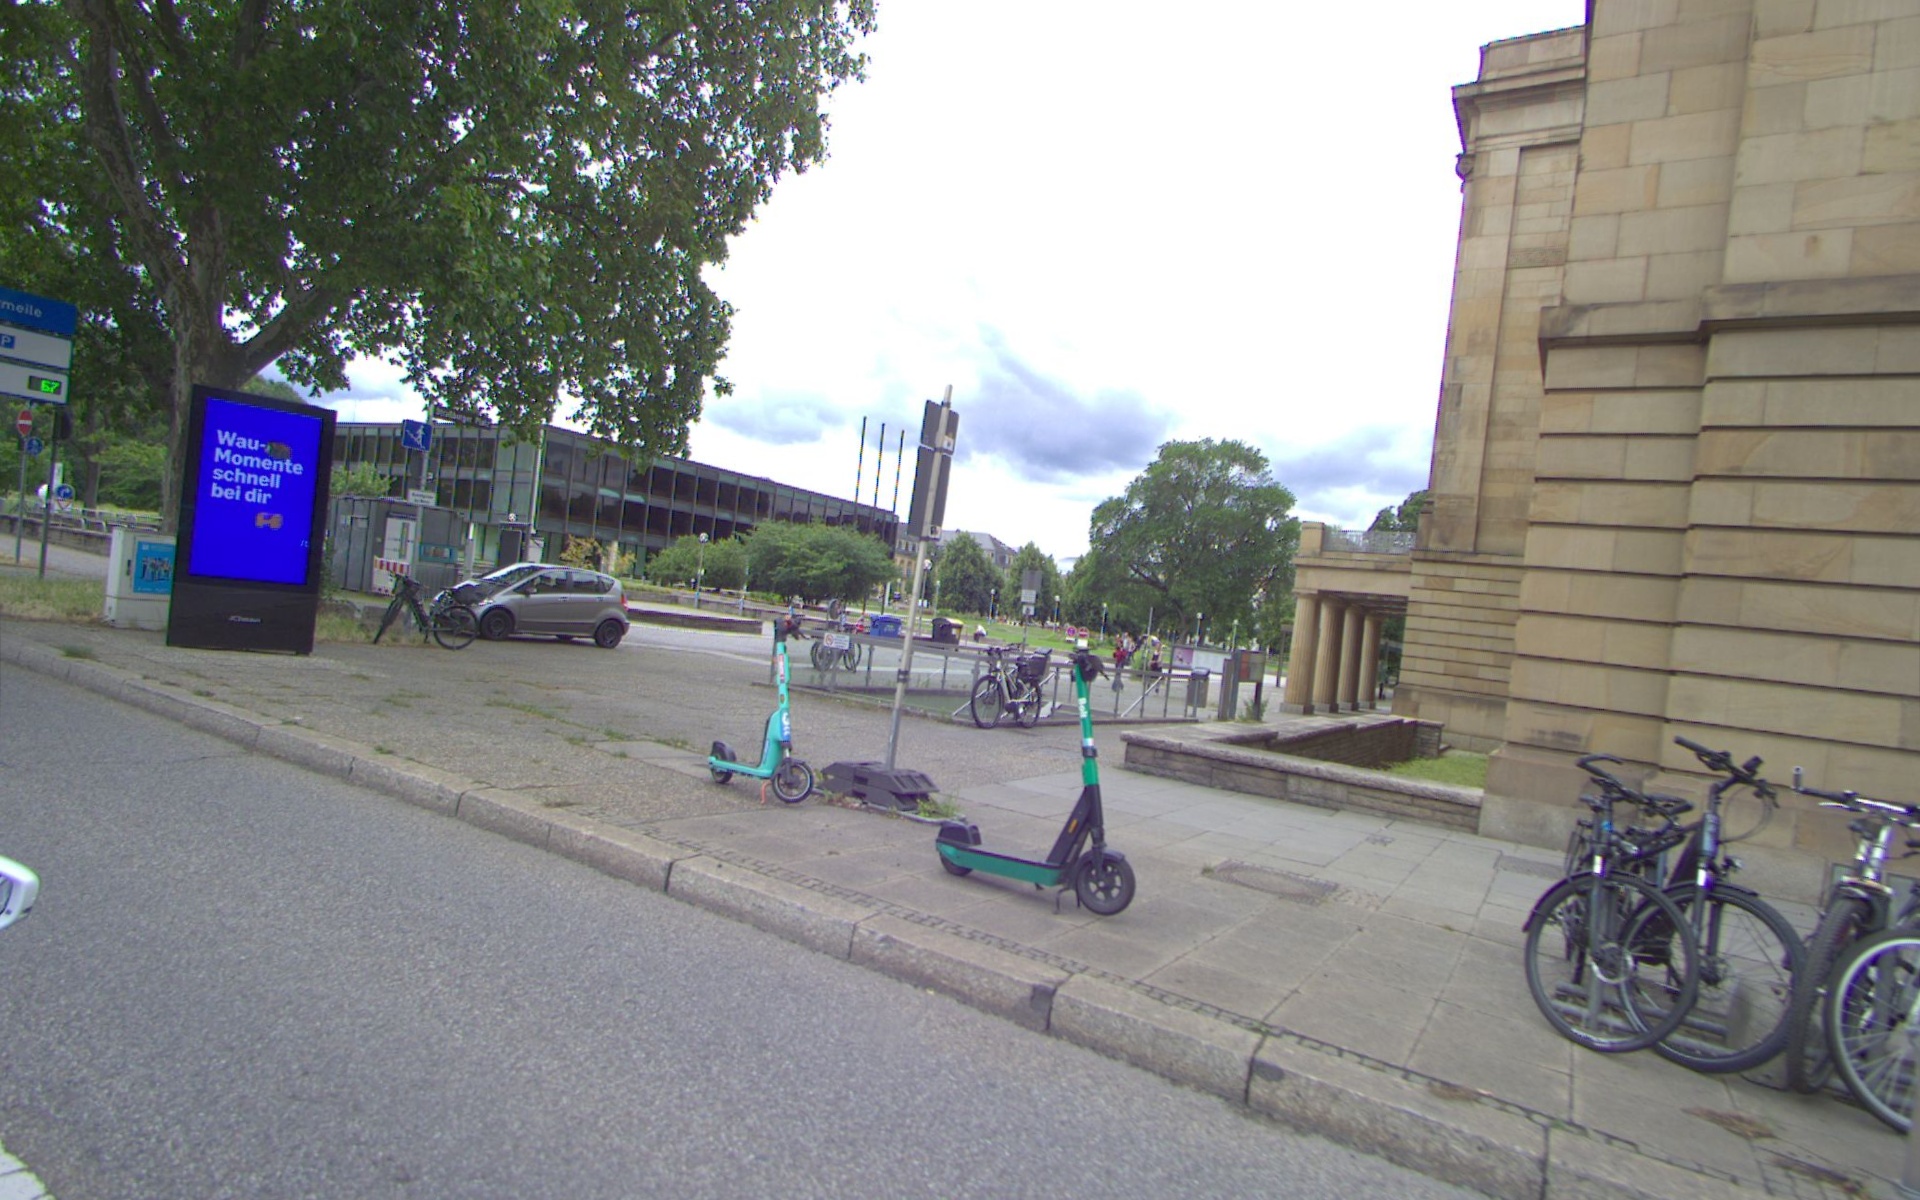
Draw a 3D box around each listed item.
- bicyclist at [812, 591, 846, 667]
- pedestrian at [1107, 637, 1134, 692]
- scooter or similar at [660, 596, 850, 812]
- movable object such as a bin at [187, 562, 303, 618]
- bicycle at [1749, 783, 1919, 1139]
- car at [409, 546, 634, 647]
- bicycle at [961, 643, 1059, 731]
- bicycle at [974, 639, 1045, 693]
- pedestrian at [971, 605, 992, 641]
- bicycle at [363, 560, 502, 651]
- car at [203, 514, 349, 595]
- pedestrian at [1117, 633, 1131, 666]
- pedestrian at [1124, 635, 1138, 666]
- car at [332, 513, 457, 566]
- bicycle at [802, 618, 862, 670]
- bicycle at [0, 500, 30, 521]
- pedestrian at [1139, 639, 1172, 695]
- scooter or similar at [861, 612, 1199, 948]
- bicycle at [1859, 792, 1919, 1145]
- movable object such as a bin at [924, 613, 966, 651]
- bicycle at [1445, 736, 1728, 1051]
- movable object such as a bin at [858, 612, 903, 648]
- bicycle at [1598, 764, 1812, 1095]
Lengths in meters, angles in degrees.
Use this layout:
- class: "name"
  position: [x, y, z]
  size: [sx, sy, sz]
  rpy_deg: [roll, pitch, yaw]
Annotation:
- class: "bicyclist"
  position: [-3.147, 0.696, 24.152]
  size: [0.466, 1.769, 0.437]
  rpy_deg: [7, 0, 25]
- class: "pedestrian"
  position: [5.211, 2.104, 32.749]
  size: [0.560, 1.716, 0.430]
  rpy_deg: [7, 0, 31]
- class: "scooter or similar"
  position: [-1.464, 0.684, 7.035]
  size: [1.415, 1.295, 0.430]
  rpy_deg: [5, -2, 44]
- class: "movable object such as a bin"
  position: [-11.177, -0.150, 15.753]
  size: [0.719, 0.659, 1.299]
  rpy_deg: [5, -4, 40]
- class: "bicycle"
  position: [3.635, 1.340, 4.107]
  size: [0.376, 1.104, 1.725]
  rpy_deg: [6, -2, 44]
- class: "car"
  position: [-8.821, -0.008, 20.554]
  size: [1.652, 1.587, 3.841]
  rpy_deg: [7, -1, 32]
- class: "bicycle"
  position: [0.754, 1.244, 14.360]
  size: [0.382, 1.139, 2.014]
  rpy_deg: [6, -1, 31]
- class: "bicycle"
  position: [1.215, 1.601, 23.993]
  size: [0.420, 1.113, 2.166]
  rpy_deg: [6, -2, 38]
- class: "pedestrian"
  position: [1.303, 1.396, 60.998]
  size: [0.799, 2.036, 0.625]
  rpy_deg: [9, -2, -38]
- class: "bicycle"
  position: [-8.141, 0.112, 15.598]
  size: [0.484, 1.235, 1.786]
  rpy_deg: [7, -1, 35]
- class: "car"
  position: [-18.519, -1.240, 27.181]
  size: [3.960, 1.571, 1.762]
  rpy_deg: [9, 1, 33]
- class: "pedestrian"
  position: [9.391, 2.821, 57.587]
  size: [0.537, 1.826, 0.500]
  rpy_deg: [7, -2, 5]
- class: "pedestrian"
  position: [9.684, 2.883, 56.911]
  size: [0.537, 1.683, 0.500]
  rpy_deg: [7, -2, 5]
- class: "car"
  position: [-34.601, -3.653, 61.773]
  size: [2.363, 2.287, 6.113]
  rpy_deg: [6, -1, 34]
- class: "bicycle"
  position: [-3.000, 1.060, 23.749]
  size: [0.435, 1.145, 1.754]
  rpy_deg: [7, -1, 24]
- class: "bicycle"
  position: [-55.237, -5.244, 58.465]
  size: [2.741, 0.986, 0.956]
  rpy_deg: [6, -3, 32]
- class: "pedestrian"
  position: [6.444, 2.223, 33.198]
  size: [0.693, 1.743, 0.680]
  rpy_deg: [7, 0, 31]
- class: "scooter or similar"
  position: [0.347, 0.829, 5.086]
  size: [1.390, 1.347, 0.727]
  rpy_deg: [6, -2, 31]
- class: "bicycle"
  position: [3.930, 1.367, 3.860]
  size: [0.566, 1.104, 1.727]
  rpy_deg: [6, -2, 40]
- class: "movable object such as a bin"
  position: [-0.681, 1.447, 45.677]
  size: [1.135, 1.515, 1.409]
  rpy_deg: [6, 0, 34]
- class: "bicycle"
  position: [3.019, 1.269, 4.748]
  size: [0.657, 1.104, 1.854]
  rpy_deg: [6, -2, 45]
- class: "movable object such as a bin"
  position: [-3.297, 1.256, 41.849]
  size: [1.135, 1.319, 1.409]
  rpy_deg: [6, -1, 34]
- class: "bicycle"
  position: [3.268, 1.300, 4.346]
  size: [0.420, 1.104, 1.725]
  rpy_deg: [6, -2, 44]
